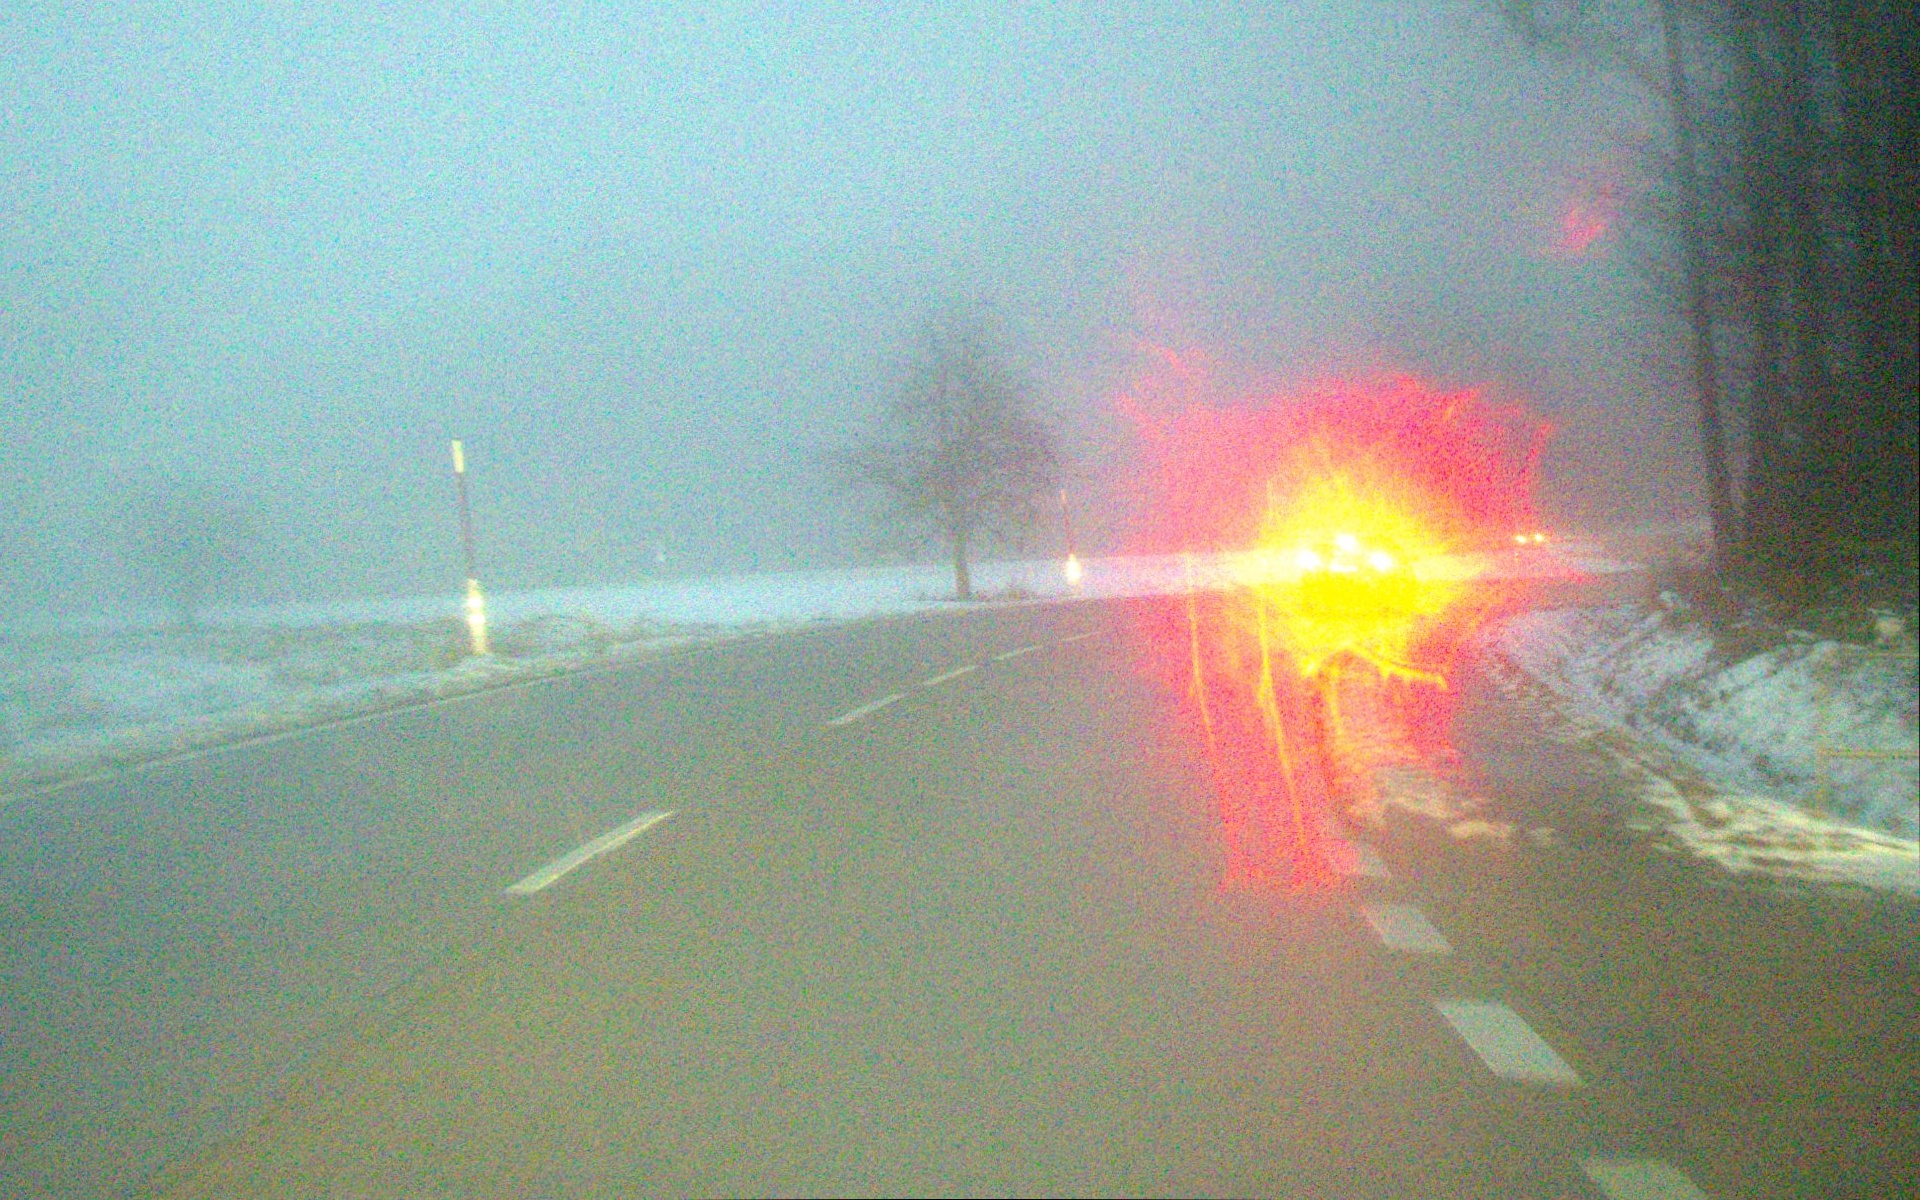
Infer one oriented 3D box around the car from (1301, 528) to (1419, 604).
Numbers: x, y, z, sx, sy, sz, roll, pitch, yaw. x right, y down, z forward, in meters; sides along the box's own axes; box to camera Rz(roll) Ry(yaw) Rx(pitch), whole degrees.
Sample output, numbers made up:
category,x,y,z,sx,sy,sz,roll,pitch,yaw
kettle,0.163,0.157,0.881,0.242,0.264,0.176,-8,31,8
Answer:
category,x,y,z,sx,sy,sz,roll,pitch,yaw
car,7.449,-0.649,63.738,1.922,1.272,3.999,0,2,10
